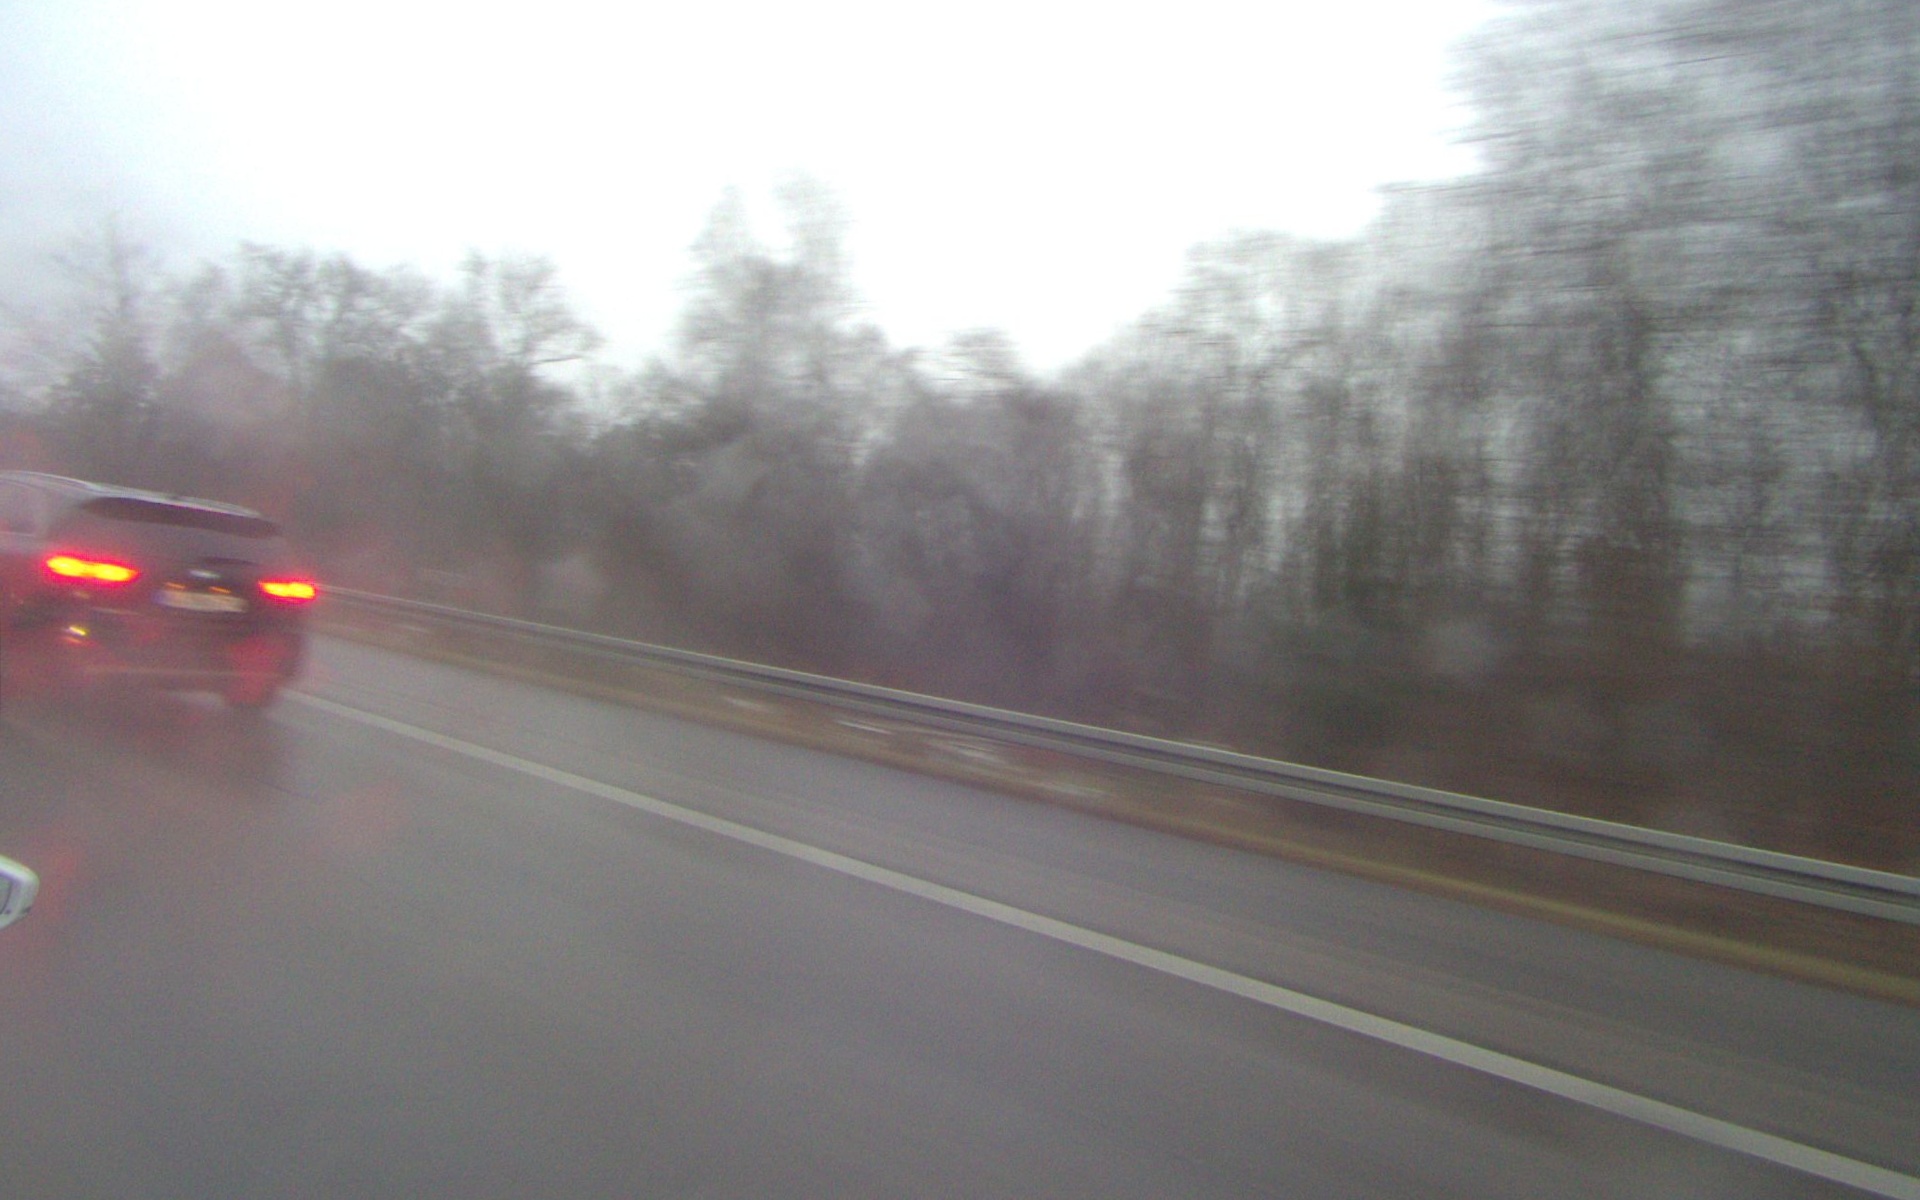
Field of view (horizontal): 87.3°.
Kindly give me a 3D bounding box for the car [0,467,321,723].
[{"bbox_3d":[-7.837,-0.153,8.677,4.387,1.717,2.074,7,-2,32],"label":"car"}]
